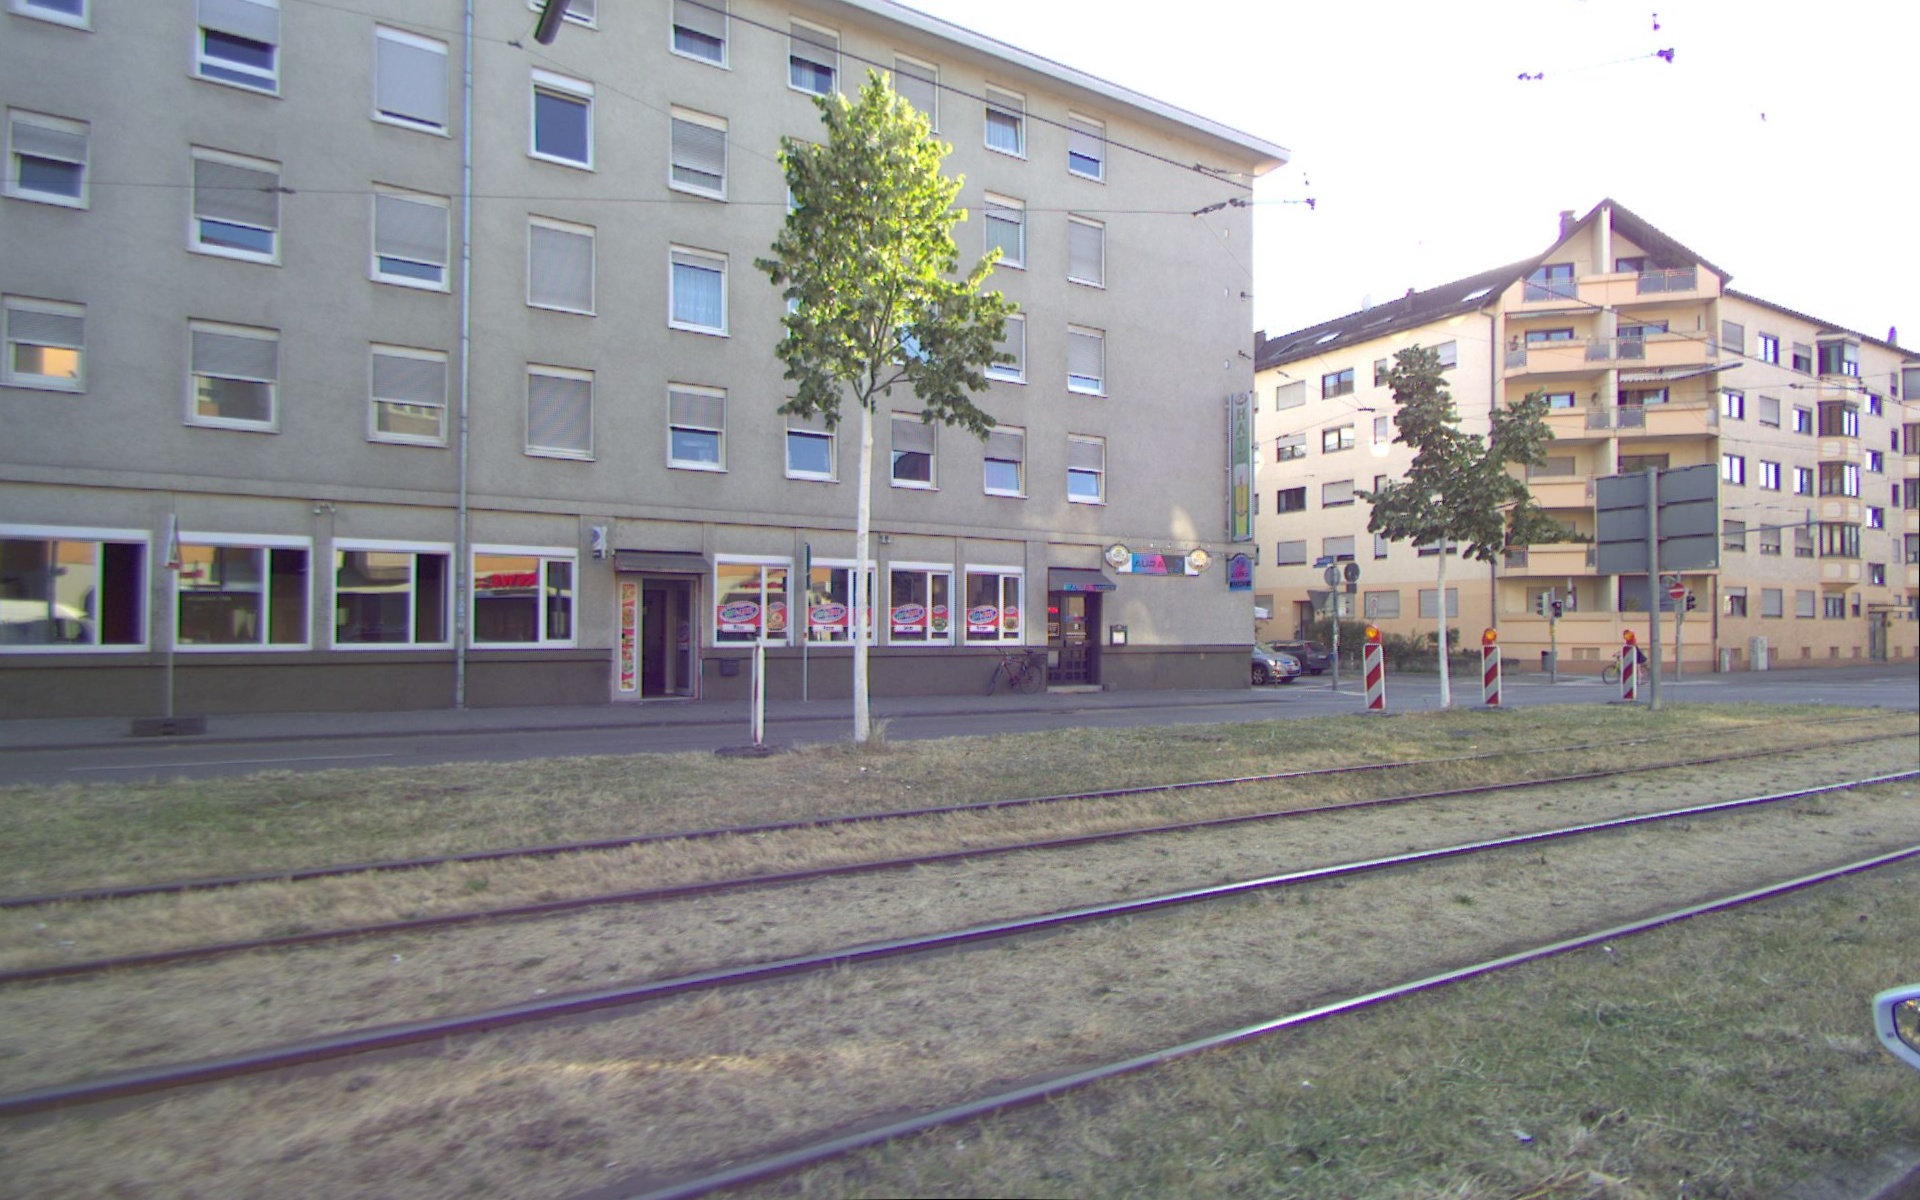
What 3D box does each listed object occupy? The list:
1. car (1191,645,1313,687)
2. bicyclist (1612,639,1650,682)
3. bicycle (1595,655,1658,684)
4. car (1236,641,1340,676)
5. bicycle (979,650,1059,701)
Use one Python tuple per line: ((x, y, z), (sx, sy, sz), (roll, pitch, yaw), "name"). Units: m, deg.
((10.732, 2.390, 37.073), (1.751, 1.406, 4.074), (2, -3, -39), "car")
((23.498, 2.112, 35.182), (0.946, 1.466, 0.529), (0, -2, 0), "bicyclist")
((23.339, 2.440, 35.172), (1.846, 0.997, 0.529), (0, -2, 0), "bicycle")
((14.093, 2.507, 43.336), (1.776, 1.458, 3.926), (2, -3, -39), "car")
((1.386, 1.744, 23.480), (1.757, 1.129, 0.743), (1, -2, -31), "bicycle")
